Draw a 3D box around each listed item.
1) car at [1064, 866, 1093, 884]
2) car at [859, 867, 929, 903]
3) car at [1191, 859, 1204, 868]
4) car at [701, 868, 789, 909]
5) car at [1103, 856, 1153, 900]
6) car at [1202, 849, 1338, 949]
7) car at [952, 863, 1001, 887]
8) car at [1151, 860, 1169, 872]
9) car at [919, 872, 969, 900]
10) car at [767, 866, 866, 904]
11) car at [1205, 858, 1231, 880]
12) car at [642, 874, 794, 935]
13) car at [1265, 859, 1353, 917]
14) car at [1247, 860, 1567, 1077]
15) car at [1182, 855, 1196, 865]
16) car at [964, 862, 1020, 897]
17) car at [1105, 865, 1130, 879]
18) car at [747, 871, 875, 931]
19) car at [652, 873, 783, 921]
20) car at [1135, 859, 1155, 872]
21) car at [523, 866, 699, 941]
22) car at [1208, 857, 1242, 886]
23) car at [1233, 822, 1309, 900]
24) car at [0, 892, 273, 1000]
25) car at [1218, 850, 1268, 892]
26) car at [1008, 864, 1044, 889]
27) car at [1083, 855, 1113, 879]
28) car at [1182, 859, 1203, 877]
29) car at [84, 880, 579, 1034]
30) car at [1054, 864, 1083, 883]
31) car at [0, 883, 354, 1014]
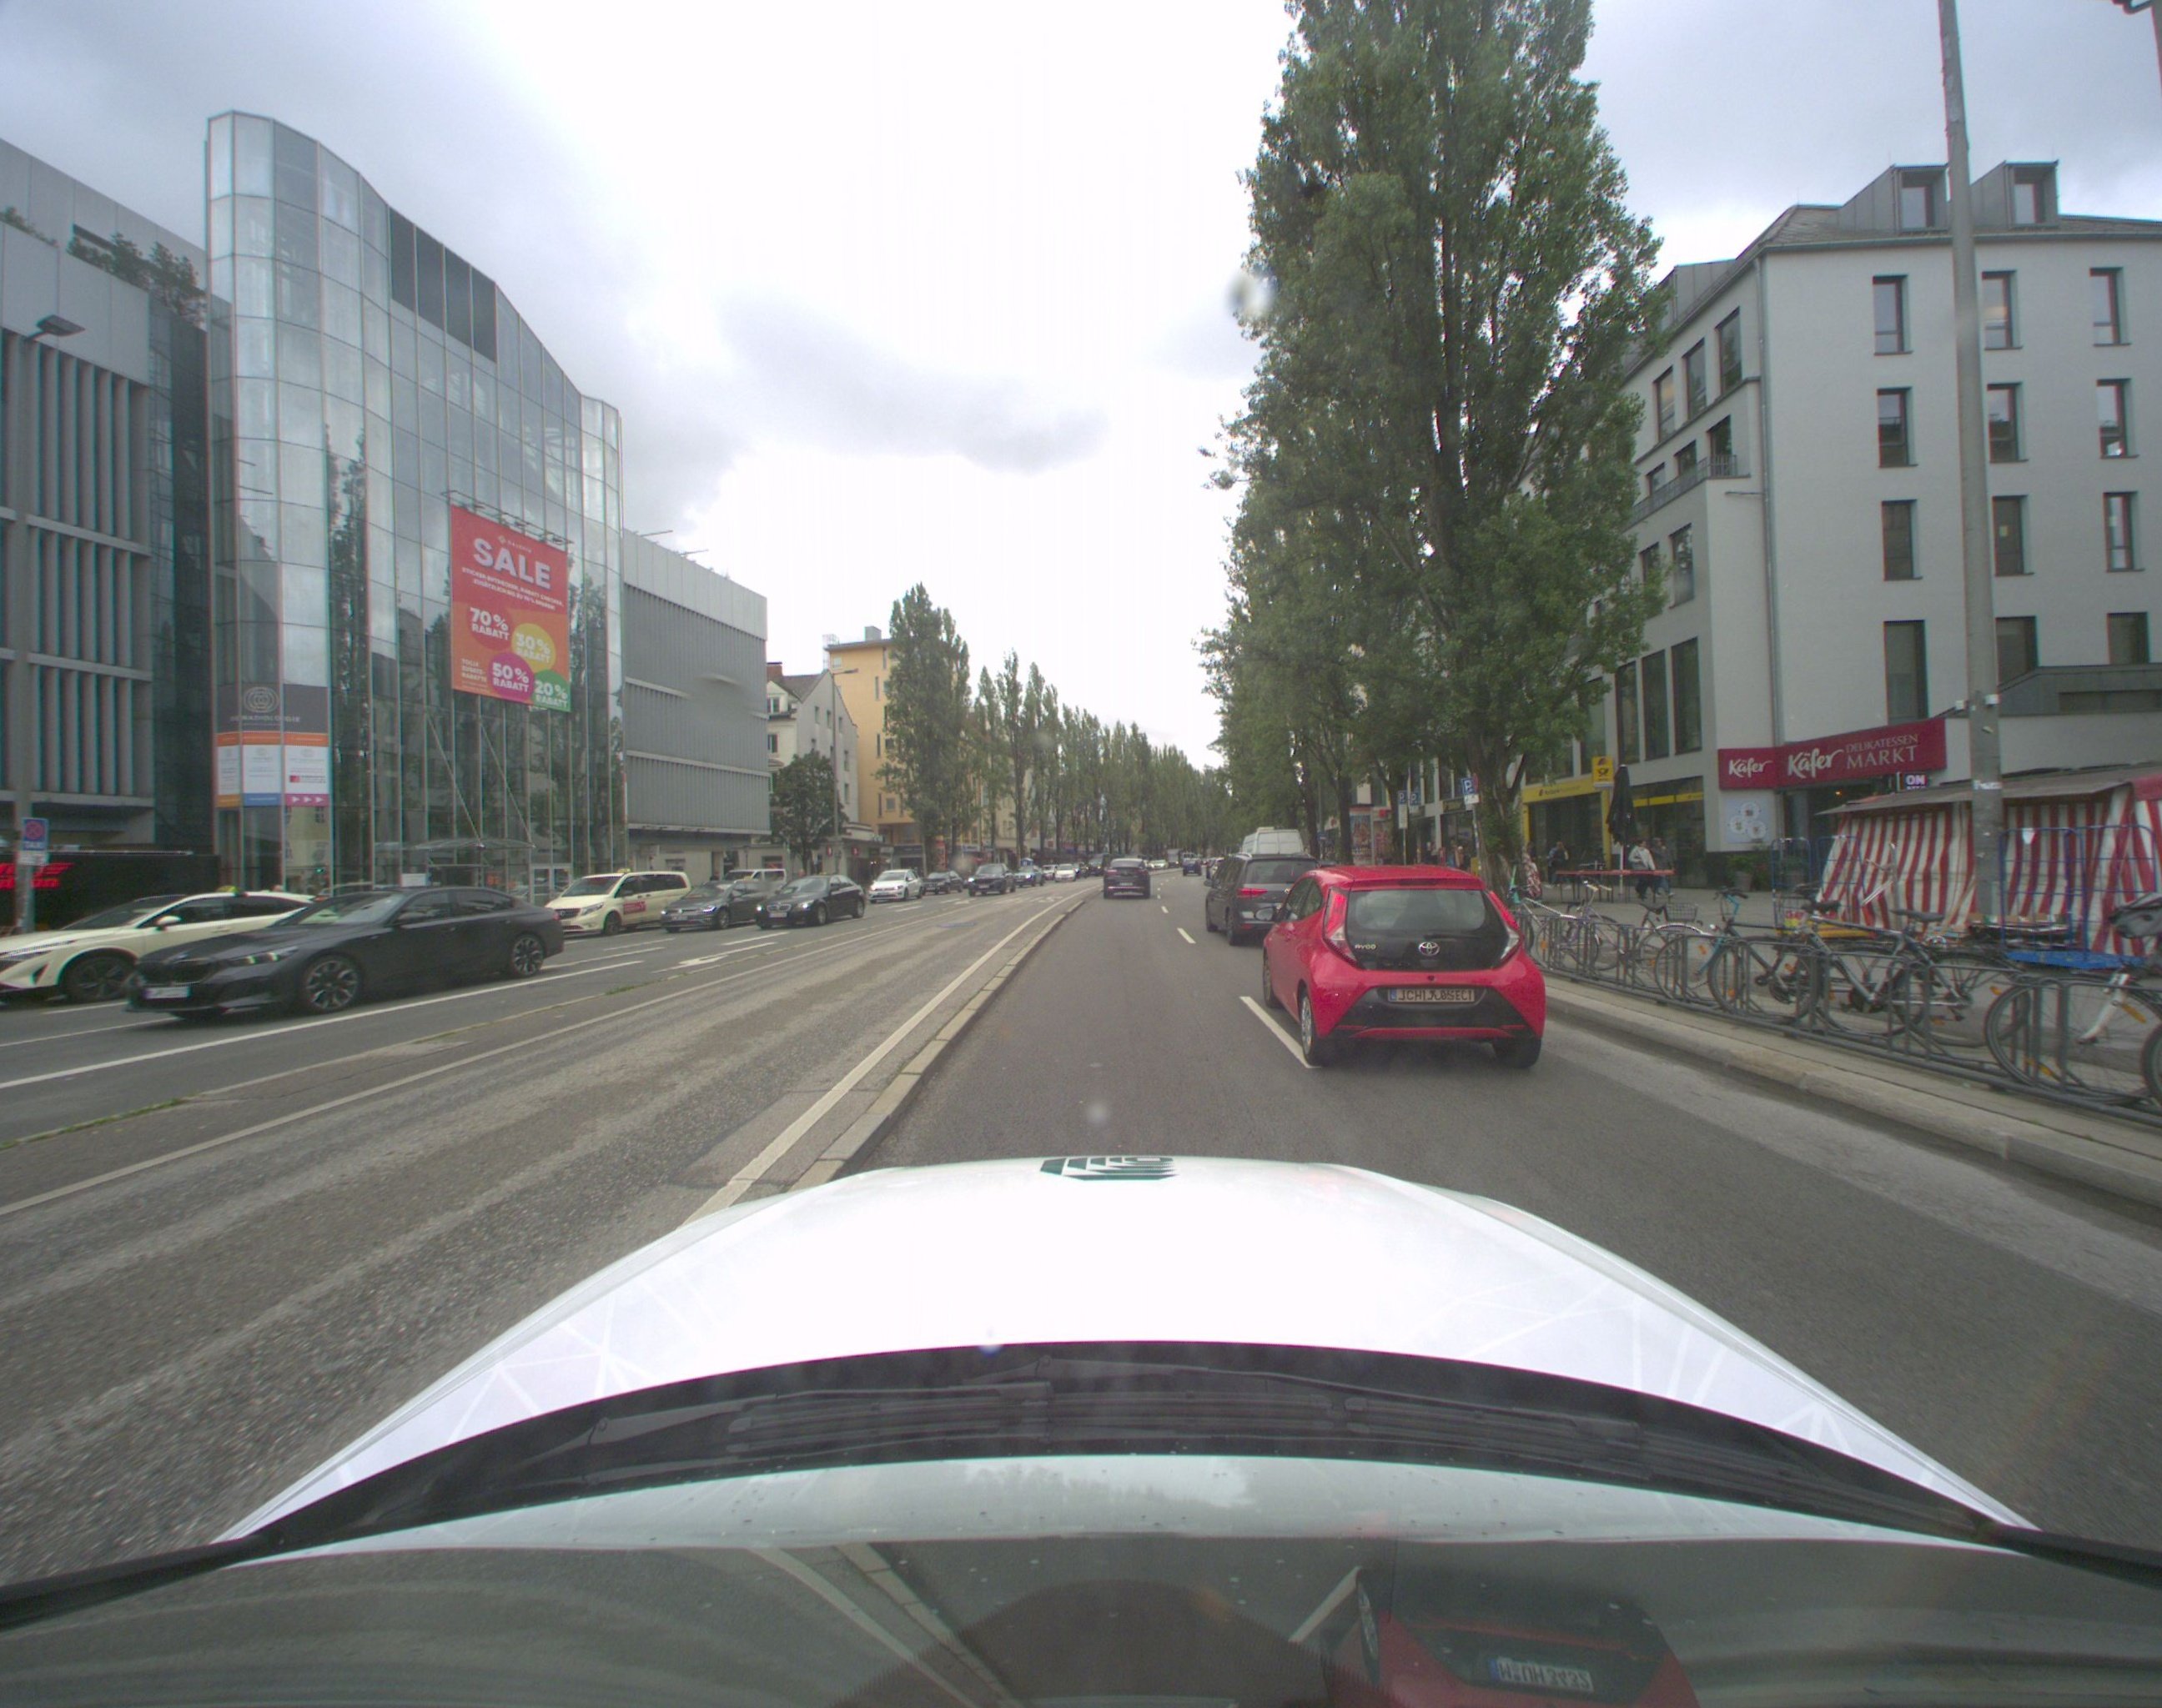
[{"bbox_3d":[-0.212,2.113,83.568,2.005,1.716,4.998,-2,-1,12],"label":"car"},{"bbox_3d":[-9.166,1.480,40.291,1.983,1.600,4.296,-2,-1,6],"label":"car"},{"bbox_3d":[22.468,1.768,157.318,1.925,1.642,4.481,-3,-1,14],"label":"car"},{"bbox_3d":[-18.569,1.848,45.335,1.981,2.014,5.128,-2,-1,11],"label":"car"},{"bbox_3d":[1.942,0.965,33.859,1.873,1.642,4.586,-2,-1,3],"label":"car"},{"bbox_3d":[3.427,0.767,15.562,1.754,1.614,4.186,-1,-1,2],"label":"car"},{"bbox_3d":[-8.080,1.633,63.280,1.740,1.816,4.023,-1,-1,27],"label":"car"},{"bbox_3d":[11.684,1.787,120.002,1.980,1.589,5.213,-4,-1,12],"label":"car"},{"bbox_3d":[-8.160,1.893,49.046,1.720,1.409,4.695,-2,0,6],"label":"car"},{"bbox_3d":[-12.310,1.400,38.332,1.842,1.469,5.003,-4,-1,16],"label":"car"},{"bbox_3d":[11.090,1.204,65.559,1.912,1.700,4.664,-1,-1,11],"label":"car"},{"bbox_3d":[-11.085,1.471,25.350,1.948,1.546,4.958,-3,-1,7],"label":"car"},{"bbox_3d":[6.227,0.879,22.629,1.716,1.454,4.154,0,0,6],"label":"car"},{"bbox_3d":[2.552,0.802,7.291,1.657,1.446,3.600,0,-1,4],"label":"car"},{"bbox_3d":[19.504,0.998,146.290,1.846,1.711,4.554,-3,-1,15],"label":"car"},{"bbox_3d":[-4.568,1.274,42.300,1.984,1.621,4.419,-3,-1,5],"label":"car"},{"bbox_3d":[4.121,2.026,91.712,1.786,1.394,4.709,-3,-1,15],"label":"car"},{"bbox_3d":[-7.926,1.316,24.433,1.827,1.487,4.742,-2,0,5],"label":"car"},{"bbox_3d":[-13.763,1.578,31.252,1.965,1.552,5.101,-2,-1,11],"label":"car"},{"bbox_3d":[8.385,1.469,106.102,1.896,1.603,4.371,-3,-1,14],"label":"car"},{"bbox_3d":[-14.433,1.426,25.475,1.984,2.014,5.329,-3,-1,5],"label":"car"},{"bbox_3d":[8.719,1.050,49.693,1.718,1.686,4.415,-1,-1,6],"label":"car"},{"bbox_3d":[7.179,0.297,31.396,1.985,2.742,5.560,0,-1,4],"label":"car"},{"bbox_3d":[-18.102,1.630,15.120,1.758,1.616,4.017,-3,-1,17],"label":"car"},{"bbox_3d":[7.444,0.772,37.911,1.919,1.805,4.788,-1,-1,7],"label":"car"},{"bbox_3d":[-3.827,1.557,57.225,1.808,1.545,4.006,-4,-1,5],"label":"car"},{"bbox_3d":[2.086,1.496,95.708,2.154,2.605,6.086,-2,-1,14],"label":"car"},{"bbox_3d":[10.782,1.338,78.331,1.748,1.619,3.758,-1,-1,11],"label":"car"},{"bbox_3d":[-9.845,1.222,11.487,1.984,1.508,5.029,-2,0,6],"label":"car"},{"bbox_3d":[-1.125,1.730,73.571,1.942,1.589,4.010,-2,-1,9],"label":"car"},{"bbox_3d":[-15.512,1.458,13.817,1.872,1.698,4.398,-4,-1,13],"label":"car"}]
